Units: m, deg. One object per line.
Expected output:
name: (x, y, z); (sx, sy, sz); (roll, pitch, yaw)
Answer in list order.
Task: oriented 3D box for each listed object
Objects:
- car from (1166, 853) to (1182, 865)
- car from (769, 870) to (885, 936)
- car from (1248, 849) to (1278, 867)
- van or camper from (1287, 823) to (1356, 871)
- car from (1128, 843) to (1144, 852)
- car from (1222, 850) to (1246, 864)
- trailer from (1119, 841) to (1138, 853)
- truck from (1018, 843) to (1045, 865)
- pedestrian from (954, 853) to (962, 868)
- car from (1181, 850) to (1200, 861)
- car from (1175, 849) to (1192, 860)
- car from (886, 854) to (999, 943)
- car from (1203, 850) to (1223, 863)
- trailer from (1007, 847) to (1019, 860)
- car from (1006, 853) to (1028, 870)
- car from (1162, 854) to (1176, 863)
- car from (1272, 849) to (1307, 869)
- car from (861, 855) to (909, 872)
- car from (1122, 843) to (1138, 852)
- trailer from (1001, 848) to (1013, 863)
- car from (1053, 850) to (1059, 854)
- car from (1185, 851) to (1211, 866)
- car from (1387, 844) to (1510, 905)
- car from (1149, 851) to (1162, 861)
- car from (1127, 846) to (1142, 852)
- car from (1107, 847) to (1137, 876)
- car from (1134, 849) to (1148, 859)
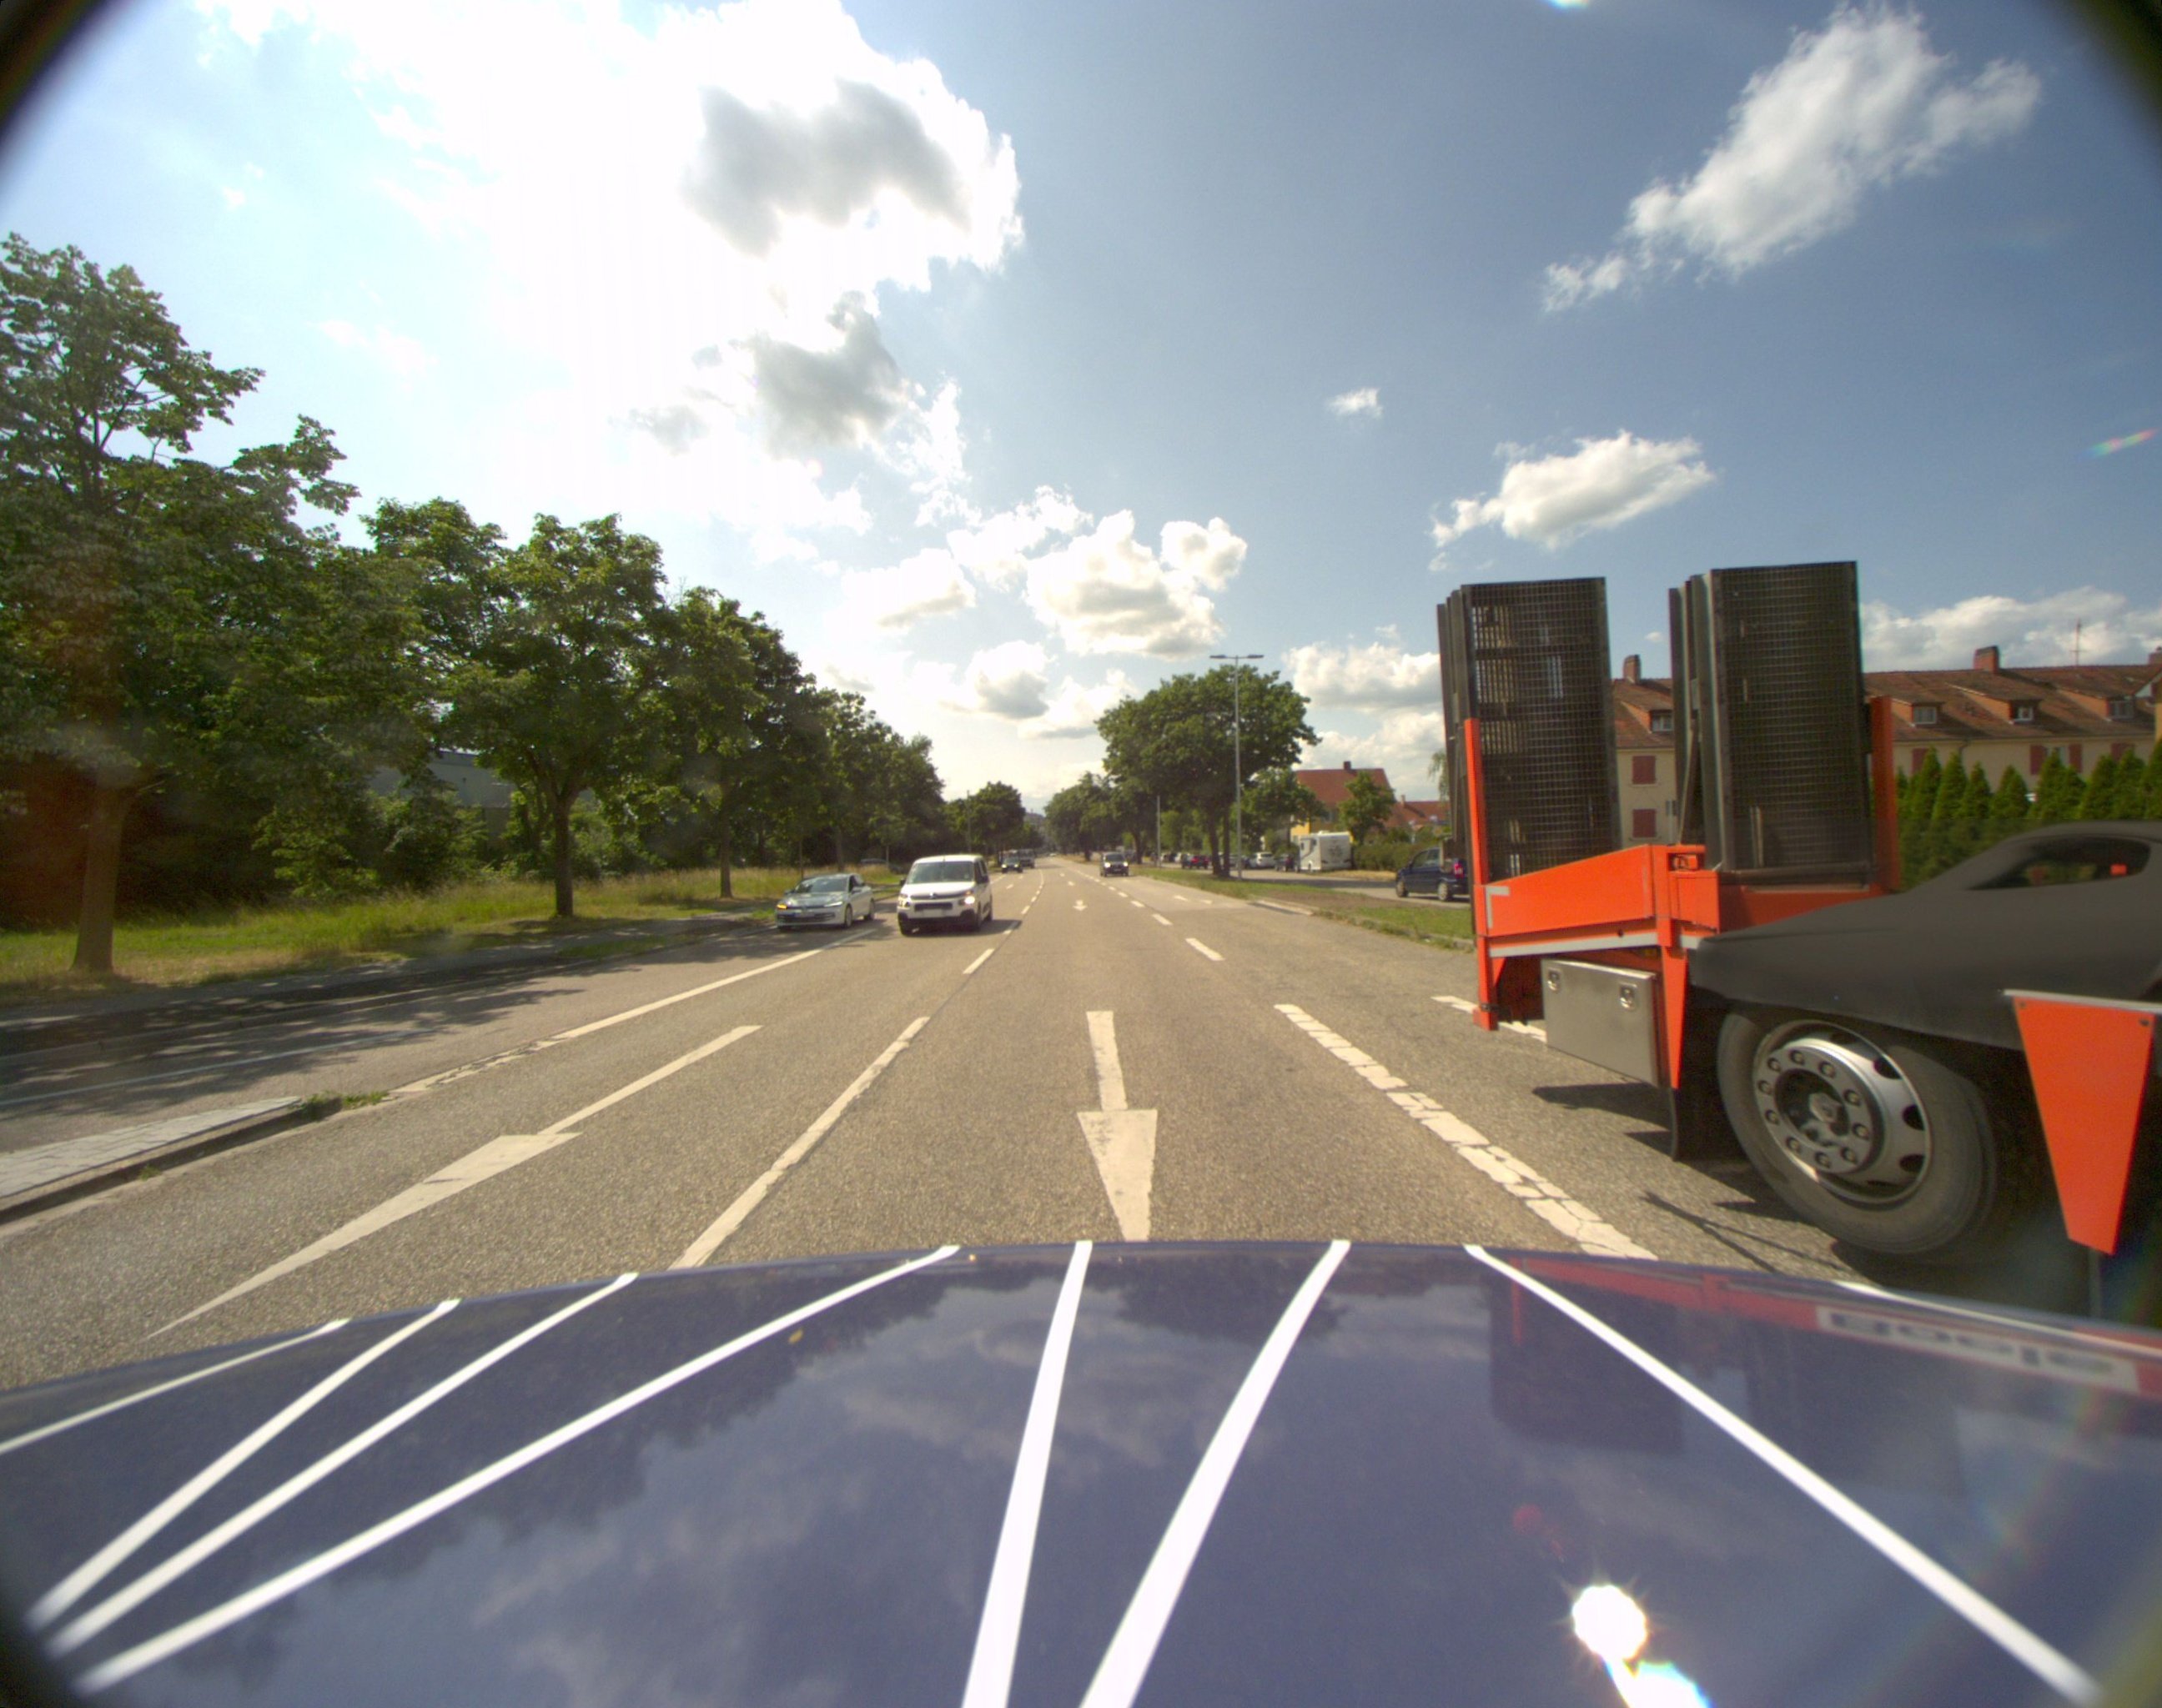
car: (14.640, 0.802, 120.321); (1.665, 1.603, 4.312); (-4, 1, -4)
car: (-6.773, 1.261, 20.751); (1.737, 1.477, 4.092); (-2, 0, 0)
car: (16.834, 0.372, 70.444); (1.693, 1.477, 4.122); (-4, 1, -1)
van or camper: (17.231, -0.483, 54.976); (2.265, 3.094, 7.318); (-4, 0, -2)
car: (13.740, -1.684, 190.060); (1.800, 2.002, 4.007); (-2, 2, 44)
car: (16.510, 0.323, 81.985); (1.515, 1.362, 4.530); (-4, 0, -1)
trailer: (13.456, -1.951, 215.164); (2.821, 3.090, 5.763); (-3, 1, 35)
truck: (-6.648, 0.000, 102.999); (2.848, 2.649, 7.350); (-3, 1, 1)
pedestrian: (-15.337, 0.772, 94.868); (0.719, 1.784, 0.739); (-4, 2, -4)
car: (15.185, 0.212, 105.553); (1.665, 1.473, 4.102); (-4, 0, -4)
car: (15.224, 0.102, 112.713); (1.665, 1.443, 3.845); (-4, 1, -4)
car: (-3.225, 0.956, 18.648); (1.936, 1.775, 4.714); (-4, 0, -2)
car: (16.104, 0.304, 92.687); (1.406, 1.387, 4.355); (-4, 1, -3)
trailer: (-13.412, -0.046, 149.724); (1.999, 2.352, 4.779); (2, 1, -3)
car: (-6.575, 0.777, 78.710); (1.758, 1.482, 3.999); (-3, 1, 1)
car: (14.706, 0.754, 126.552); (1.598, 1.453, 3.533); (-4, 1, -4)
car: (16.946, 0.395, 61.926); (1.640, 1.477, 3.991); (-4, 1, -1)
car: (-18.466, 0.874, 71.611); (4.176, 1.484, 1.783); (1, -1, -8)
car: (12.718, -1.676, 198.074); (1.800, 2.002, 4.007); (-2, 2, 44)
trailer: (-12.516, 0.216, 128.926); (1.958, 2.338, 4.603); (0, 1, -5)
car: (-8.644, -0.562, 262.153); (1.892, 1.281, 3.998); (-4, 1, -4)
car: (11.700, 0.416, 76.121); (1.776, 1.430, 4.574); (-1, 1, -1)
car: (11.123, 0.560, 23.303); (1.799, 1.679, 3.999); (-1, 1, -1)
car: (13.476, 0.394, 137.410); (1.772, 1.543, 3.998); (-4, 1, -4)
car: (13.776, -1.325, 195.386); (1.569, 1.390, 4.007); (-2, 2, 44)
car: (2.947, 0.508, 55.198); (1.768, 1.893, 4.539); (-4, 1, -1)
car: (9.443, 0.002, 119.827); (1.737, 1.499, 4.650); (2, 1, -3)
